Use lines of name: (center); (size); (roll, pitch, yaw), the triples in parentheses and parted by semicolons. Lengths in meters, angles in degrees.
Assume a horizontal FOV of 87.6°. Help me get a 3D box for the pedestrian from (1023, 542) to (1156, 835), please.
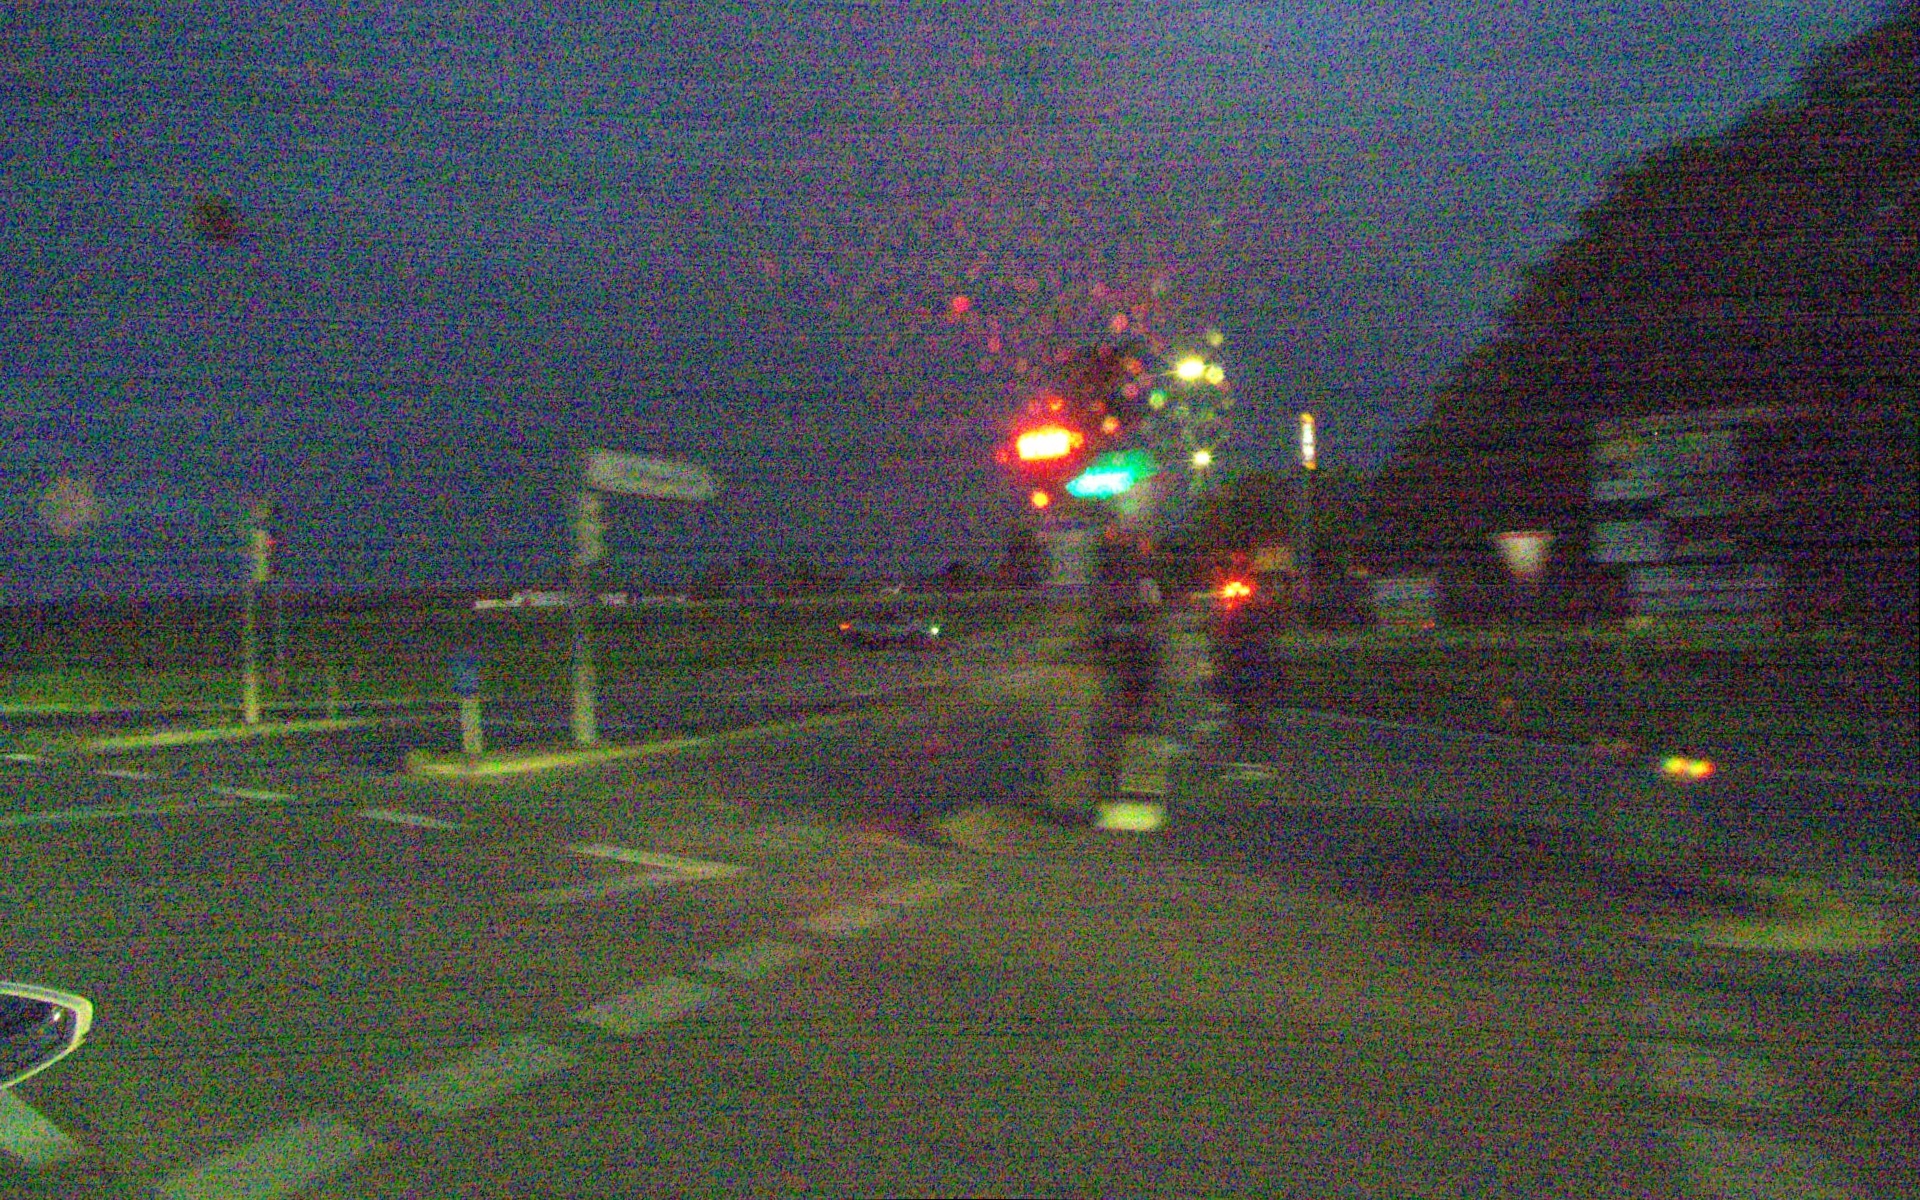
pedestrian: (0.977, 0.632, 7.502); (0.704, 2.039, 0.776); (-1, -1, 33)

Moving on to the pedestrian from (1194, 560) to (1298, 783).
pedestrian: (2.733, 0.674, 9.634); (0.700, 2.039, 0.781); (0, -2, -7)

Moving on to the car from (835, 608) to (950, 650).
car: (-2.830, 1.217, 42.299); (4.398, 1.686, 1.996); (-1, 0, 18)
